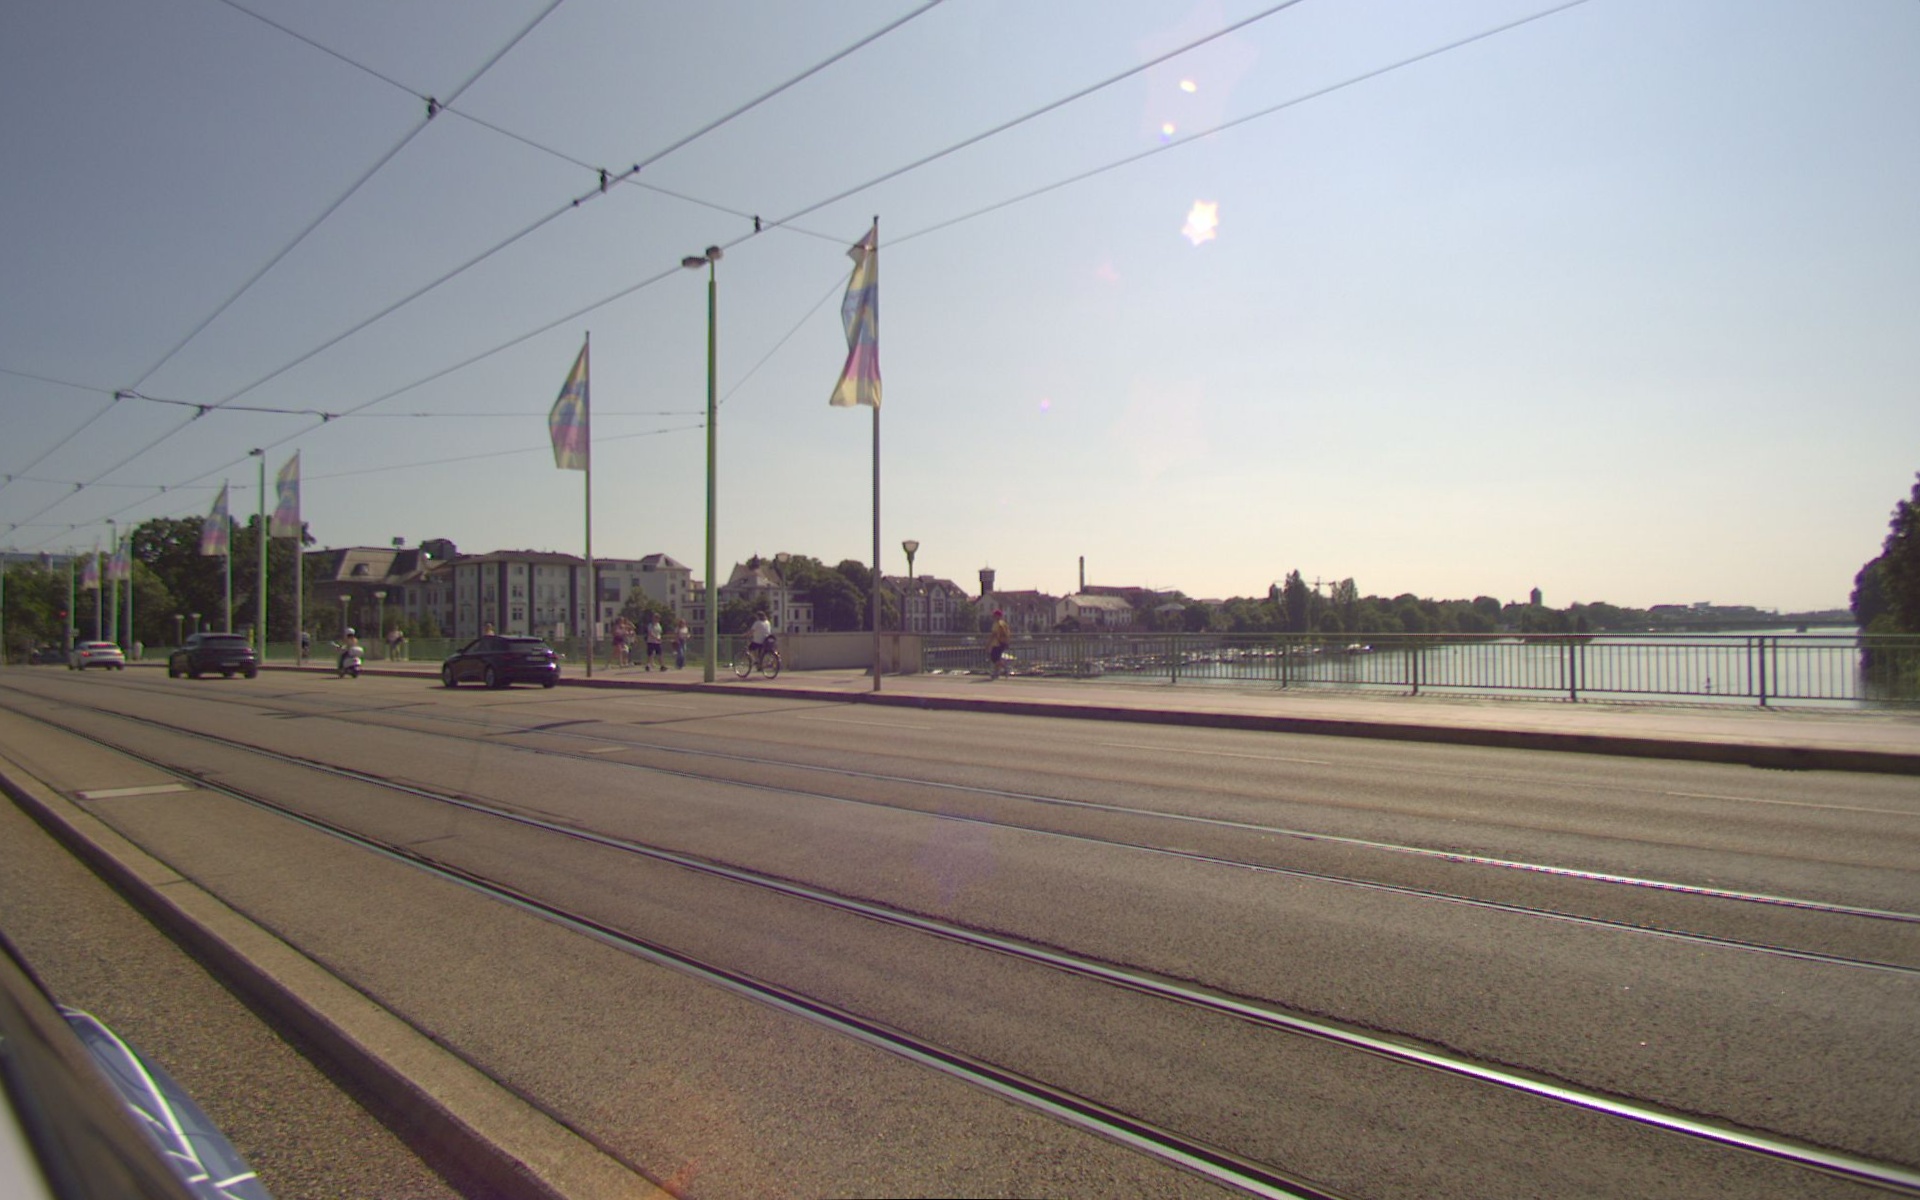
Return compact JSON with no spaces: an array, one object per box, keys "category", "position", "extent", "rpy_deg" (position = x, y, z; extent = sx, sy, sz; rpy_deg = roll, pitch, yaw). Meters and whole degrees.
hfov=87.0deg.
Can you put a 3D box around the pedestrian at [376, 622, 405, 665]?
[{"category":"pedestrian","position":[-27.682,2.114,49.210],"extent":[1.041,2.029,0.890],"rpy_deg":[-3,-3,39]}]

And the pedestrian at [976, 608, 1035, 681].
[{"category":"pedestrian","position":[1.068,1.038,23.897],"extent":[1.029,1.671,0.889],"rpy_deg":[-3,-2,43]}]

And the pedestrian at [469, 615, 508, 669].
[{"category":"pedestrian","position":[-18.404,1.637,39.515],"extent":[1.099,2.029,0.960],"rpy_deg":[-3,-3,36]}]

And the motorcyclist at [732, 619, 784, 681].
[{"category":"motorcyclist","position":[-5.163,1.266,25.878],"extent":[1.068,1.561,0.792],"rpy_deg":[-3,-2,41]}]

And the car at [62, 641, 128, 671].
[{"category":"car","position":[-44.106,2.843,51.589],"extent":[4.545,1.420,1.972],"rpy_deg":[-3,-2,42]}]

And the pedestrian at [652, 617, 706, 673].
[{"category":"pedestrian","position":[-8.898,1.417,32.061],"extent":[1.293,1.742,1.086],"rpy_deg":[-3,-3,39]}]

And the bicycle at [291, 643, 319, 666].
[{"category":"bicycle","position":[-33.618,2.796,51.923],"extent":[2.110,1.105,0.583],"rpy_deg":[-2,0,39]}]

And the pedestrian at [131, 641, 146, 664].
[{"category":"pedestrian","position":[-70.384,4.494,86.686],"extent":[0.974,1.867,0.731],"rpy_deg":[-3,0,39]}]

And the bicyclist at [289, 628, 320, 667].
[{"category":"bicyclist","position":[-33.710,2.444,52.044],"extent":[1.128,1.976,1.086],"rpy_deg":[-3,-3,39]}]

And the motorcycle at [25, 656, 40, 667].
[{"category":"motorcycle","position":[-90.406,5.970,98.594],"extent":[1.950,1.033,0.836],"rpy_deg":[-3,-2,40]}]

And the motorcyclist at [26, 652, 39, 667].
[{"category":"motorcyclist","position":[-90.266,5.772,98.473],"extent":[0.897,1.412,0.836],"rpy_deg":[-3,-2,39]}]

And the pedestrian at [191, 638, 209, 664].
[{"category":"pedestrian","position":[-53.489,3.587,71.199],"extent":[0.956,1.797,0.731],"rpy_deg":[-3,0,39]}]

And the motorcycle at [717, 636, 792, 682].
[{"category":"motorcycle","position":[-5.273,1.496,25.878],"extent":[2.177,1.118,0.693],"rpy_deg":[-3,-3,41]}]

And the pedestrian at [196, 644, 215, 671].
[{"category":"pedestrian","position":[-53.417,4.059,71.685],"extent":[1.120,1.862,0.731],"rpy_deg":[-3,0,39]}]

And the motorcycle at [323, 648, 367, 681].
[{"category":"motorcycle","position":[-21.765,2.264,35.813],"extent":[2.177,1.118,0.693],"rpy_deg":[-3,-2,41]}]

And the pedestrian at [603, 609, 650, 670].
[{"category":"pedestrian","position":[-11.449,1.350,34.713],"extent":[1.128,2.029,1.086],"rpy_deg":[-3,-3,39]}]

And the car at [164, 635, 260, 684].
[{"category":"car","position":[-26.553,2.080,35.877],"extent":[4.337,1.612,1.972],"rpy_deg":[-3,-2,42]}]

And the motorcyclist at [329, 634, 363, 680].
[{"category":"motorcyclist","position":[-21.666,2.013,35.733],"extent":[0.831,1.586,0.819],"rpy_deg":[-3,-2,40]}]

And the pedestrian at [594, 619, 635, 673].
[{"category":"pedestrian","position":[-11.347,1.503,33.229],"extent":[1.174,1.735,0.747],"rpy_deg":[-2,-2,39]}]

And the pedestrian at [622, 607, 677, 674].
[{"category":"pedestrian","position":[-9.626,1.264,31.348],"extent":[1.293,2.029,1.086],"rpy_deg":[-3,-3,39]}]

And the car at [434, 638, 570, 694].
[{"category":"car","position":[-12.574,1.765,27.667],"extent":[4.380,1.373,1.740],"rpy_deg":[-3,-2,41]}]

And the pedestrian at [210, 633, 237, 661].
[{"category":"pedestrian","position":[-47.760,3.023,65.630],"extent":[1.293,1.772,1.086],"rpy_deg":[-3,-3,39]}]
